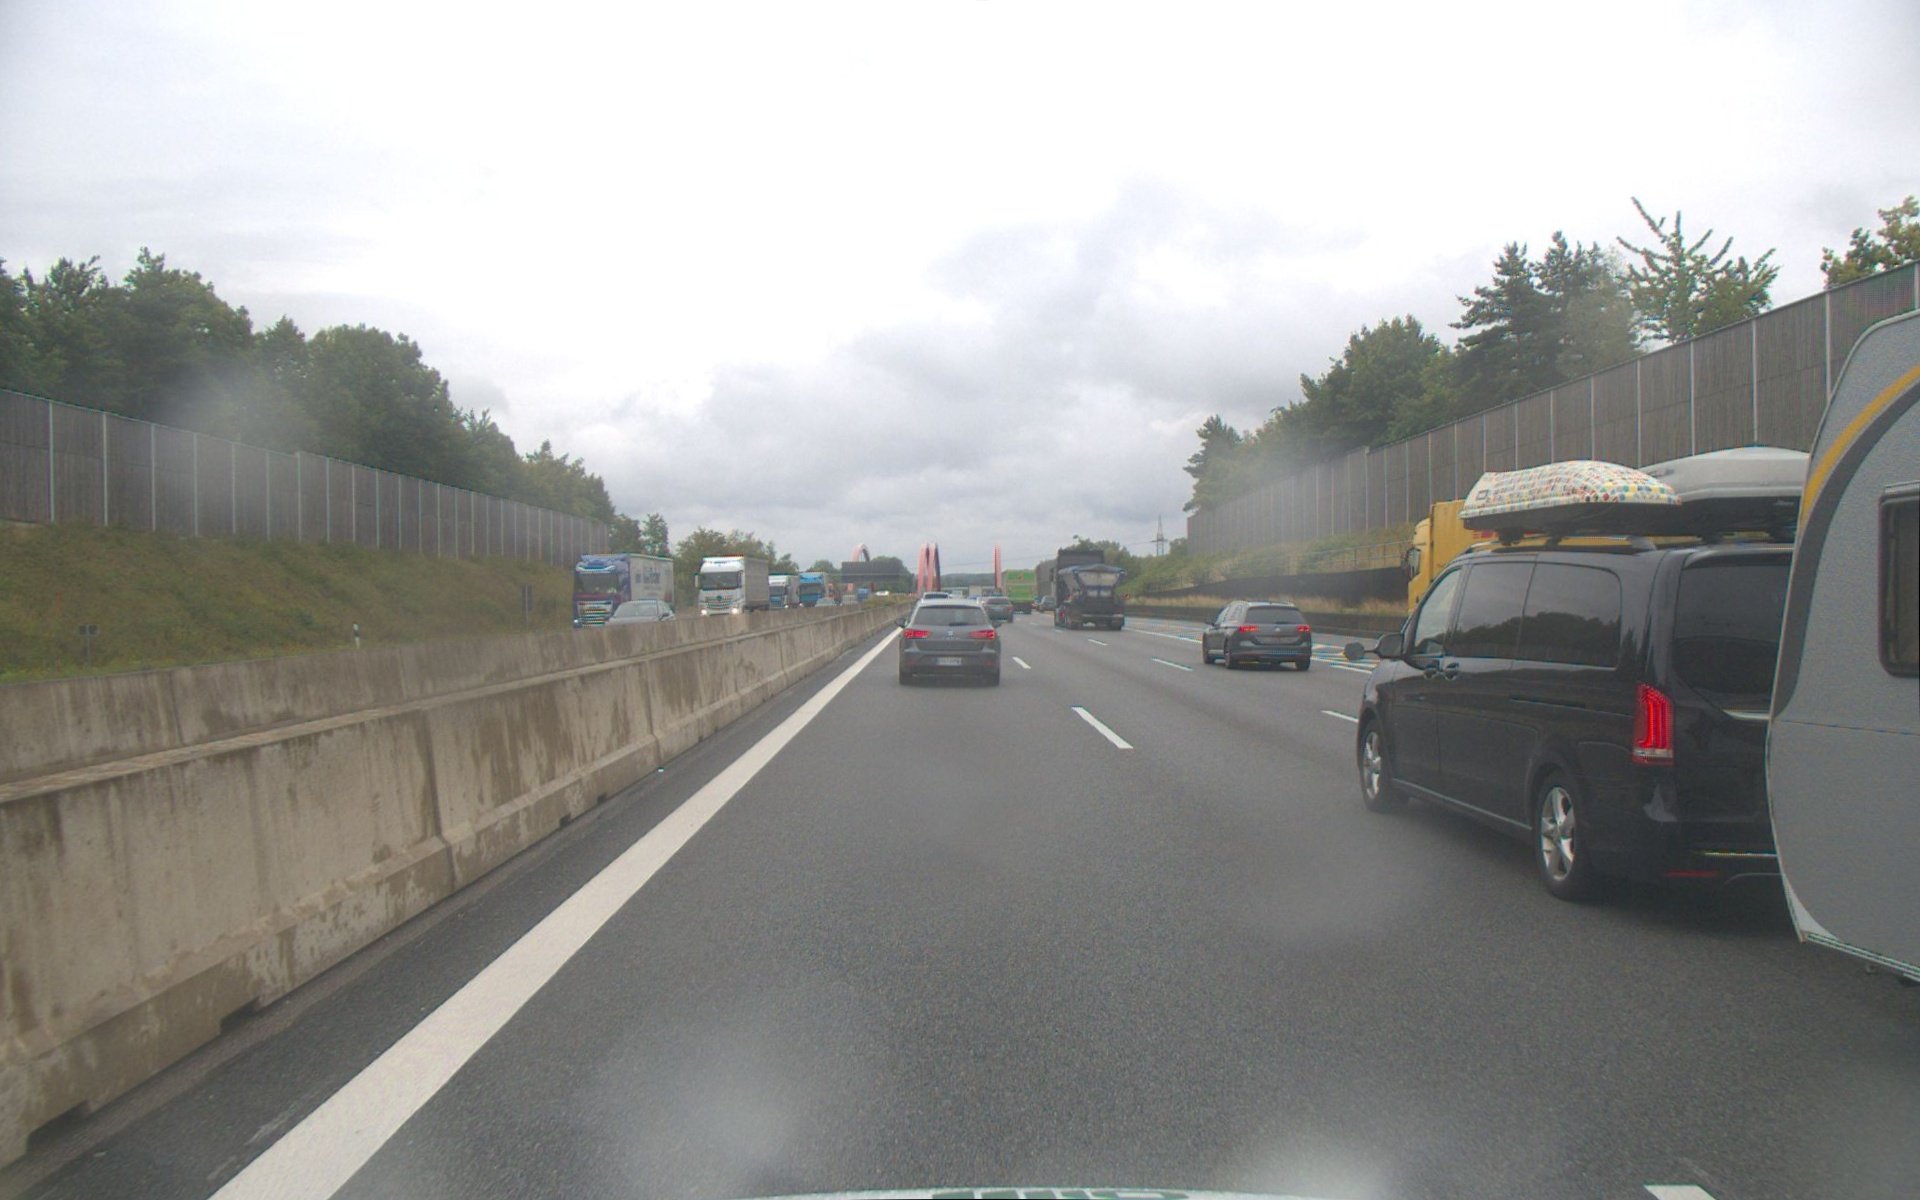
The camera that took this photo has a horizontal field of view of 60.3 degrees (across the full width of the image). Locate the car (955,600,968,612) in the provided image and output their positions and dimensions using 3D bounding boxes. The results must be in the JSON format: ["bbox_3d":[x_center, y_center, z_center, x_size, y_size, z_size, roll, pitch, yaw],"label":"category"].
[{"bbox_3d":[0.228,0.925,249.395,1.953,1.847,4.000,0,0,0],"label":"car"}]

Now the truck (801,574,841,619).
[{"bbox_3d":[-14.289,-0.281,170.620,3.087,4.400,12.678,1,0,0],"label":"truck"}]

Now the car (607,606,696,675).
[{"bbox_3d":[-9.799,1.233,52.908,1.953,2.049,4.768,-1,0,-1],"label":"car"}]

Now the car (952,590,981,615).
[{"bbox_3d":[0.444,0.177,115.888,1.953,1.691,3.999,0,0,-1],"label":"car"}]

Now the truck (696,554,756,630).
[{"bbox_3d":[-14.001,-0.460,99.372,2.723,4.400,6.096,1,0,-1],"label":"truck"}]

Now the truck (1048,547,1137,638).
[{"bbox_3d":[6.267,-0.293,80.526,3.026,4.019,12.942,-1,0,-1],"label":"truck"}]

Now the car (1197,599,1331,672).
[{"bbox_3d":[6.685,0.732,36.971,1.900,1.452,5.288,1,0,-1],"label":"car"}]

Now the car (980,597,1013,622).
[{"bbox_3d":[2.066,0.533,93.937,1.745,1.431,3.626,0,0,-1],"label":"car"}]

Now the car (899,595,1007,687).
[{"bbox_3d":[-0.169,0.663,28.575,1.728,1.478,3.999,0,0,-2],"label":"car"}]

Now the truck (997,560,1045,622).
[{"bbox_3d":[5.468,-0.747,149.928,3.915,5.358,11.219,1,0,0],"label":"truck"}]

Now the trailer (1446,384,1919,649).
[{"bbox_3d":[13.908,-1.236,33.657,2.597,4.022,16.679,1,0,-2],"label":"trailer"}]

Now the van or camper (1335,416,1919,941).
[{"bbox_3d":[3.936,0.352,10.189,1.852,2.309,5.678,1,0,-1],"label":"van or camper"}]

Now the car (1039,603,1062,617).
[{"bbox_3d":[9.038,0.982,164.994,1.953,1.378,3.999,-1,0,-1],"label":"car"}]

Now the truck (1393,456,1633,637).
[{"bbox_3d":[13.635,-1.181,41.754,2.631,4.027,9.322,1,0,-2],"label":"truck"}]

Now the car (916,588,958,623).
[{"bbox_3d":[-1.119,0.261,80.467,1.953,1.612,3.999,-1,0,-1],"label":"car"}]

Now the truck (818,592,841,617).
[{"bbox_3d":[-20.071,0.747,254.239,2.640,3.771,6.482,1,0,2],"label":"truck"}]

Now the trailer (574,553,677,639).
[{"bbox_3d":[-18.593,-0.196,92.915,3.026,4.400,14.335,-1,0,-1],"label":"trailer"}]

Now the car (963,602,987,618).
[{"bbox_3d":[1.344,0.847,147.802,1.953,1.378,3.999,-1,0,-1],"label":"car"}]

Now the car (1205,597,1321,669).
[{"bbox_3d":[6.632,0.698,36.612,1.629,1.482,4.469,1,0,-2],"label":"car"}]

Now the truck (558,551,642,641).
[{"bbox_3d":[-18.486,-0.197,85.382,3.027,4.400,6.096,-1,0,-1],"label":"truck"}]

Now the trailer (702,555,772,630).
[{"bbox_3d":[-14.100,-0.421,105.703,2.723,4.400,14.021,1,0,-1],"label":"trailer"}]

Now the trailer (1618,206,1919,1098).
[{"bbox_3d":[4.289,0.179,3.337,2.666,2.688,7.508,1,0,-2],"label":"trailer"}]

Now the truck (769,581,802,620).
[{"bbox_3d":[-18.020,0.031,171.022,2.830,3.862,5.888,-1,0,-1],"label":"truck"}]
